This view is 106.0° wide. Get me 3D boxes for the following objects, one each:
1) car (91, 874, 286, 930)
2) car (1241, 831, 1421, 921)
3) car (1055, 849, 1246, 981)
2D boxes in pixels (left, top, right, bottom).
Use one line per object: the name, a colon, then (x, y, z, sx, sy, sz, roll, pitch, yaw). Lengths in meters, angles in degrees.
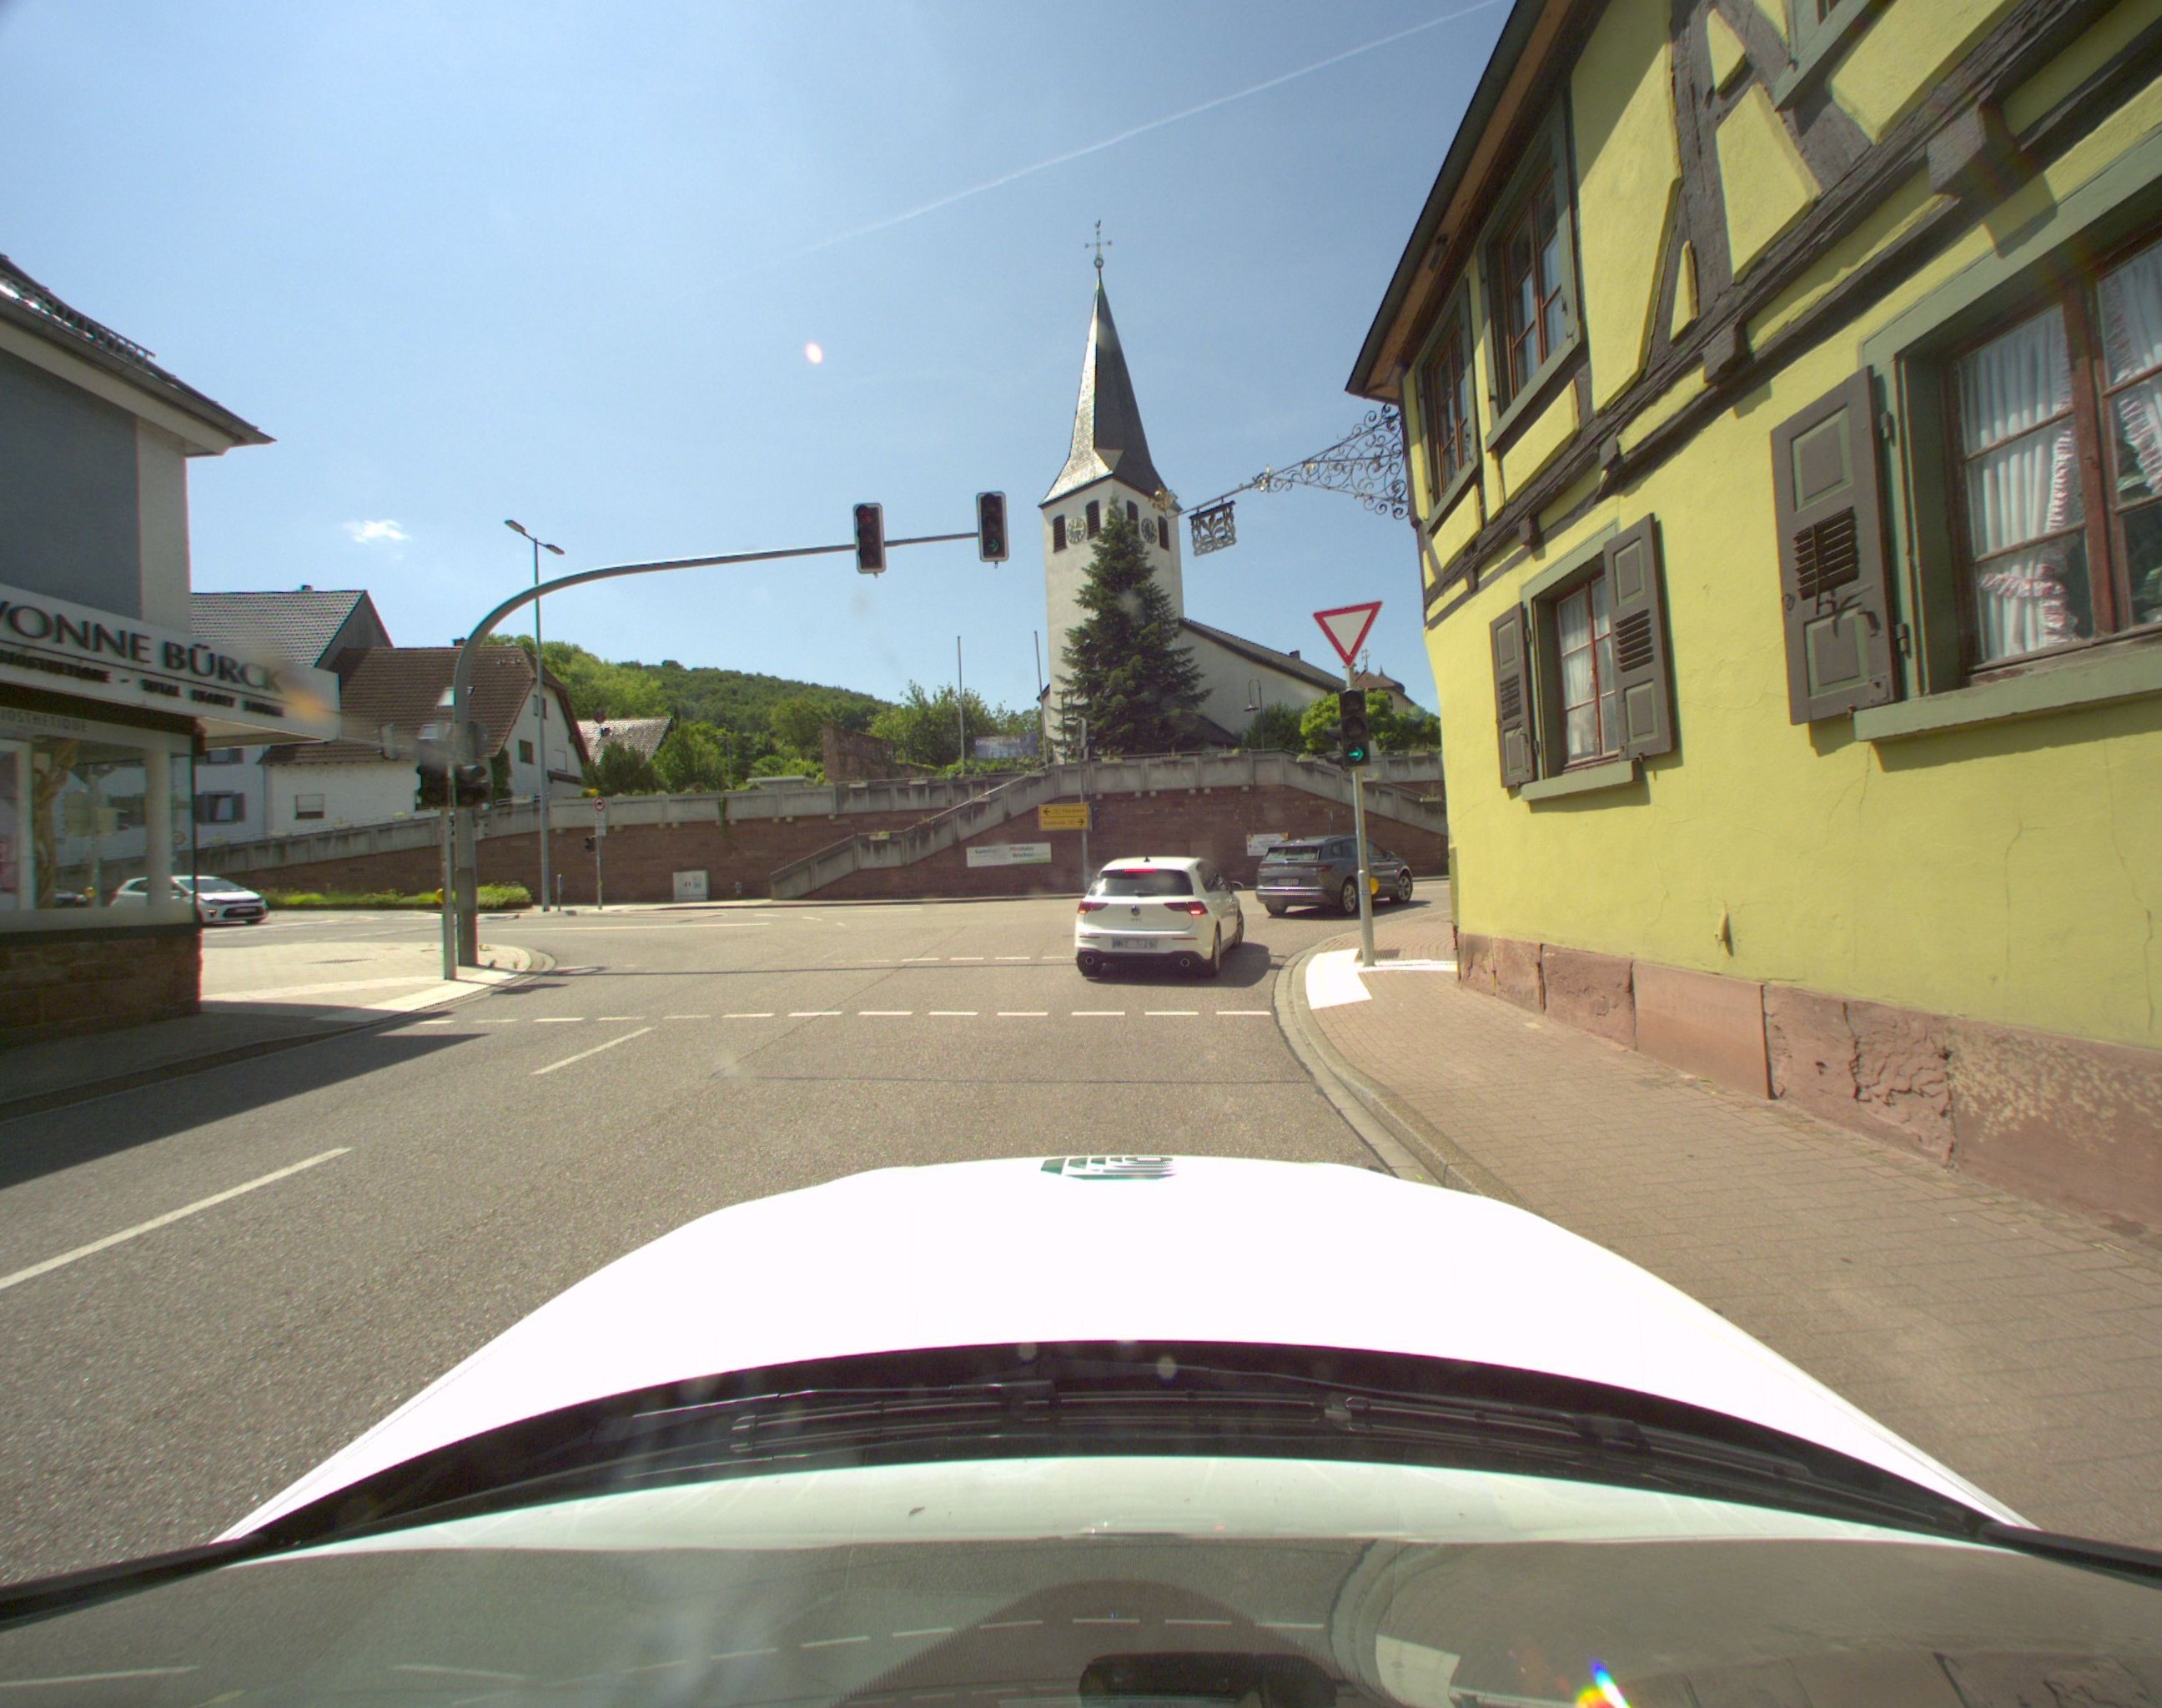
car: (-26.527, 1.411, 24.275, 3.967, 1.479, 1.868, -1, 1, 6)
car: (5.520, 0.366, 17.662, 1.931, 1.582, 4.352, 0, 3, 44)
car: (1.142, 0.711, 11.214, 1.769, 1.458, 3.880, -3, -1, 17)
